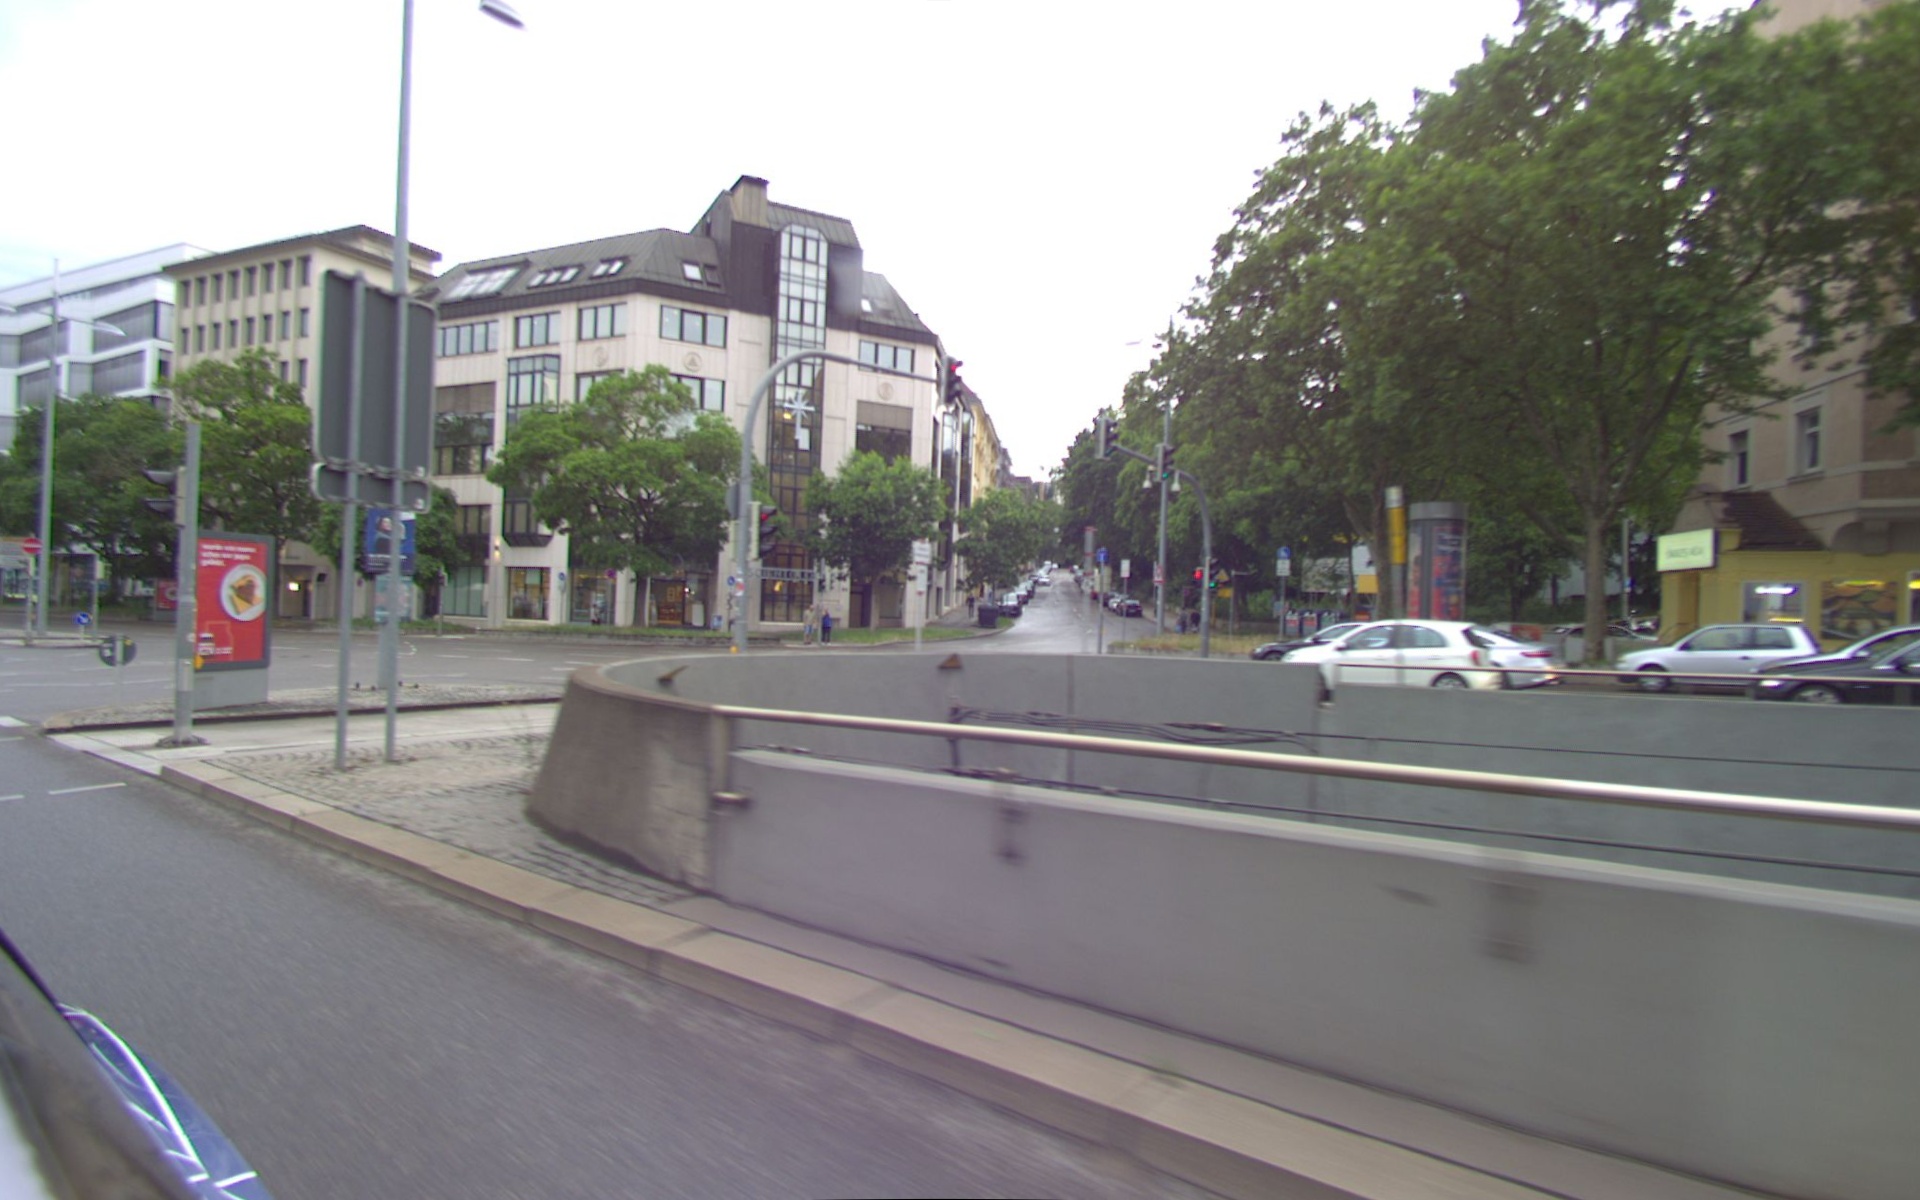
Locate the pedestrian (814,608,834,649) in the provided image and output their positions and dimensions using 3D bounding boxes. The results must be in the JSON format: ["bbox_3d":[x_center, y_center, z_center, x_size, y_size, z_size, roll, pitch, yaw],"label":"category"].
[{"bbox_3d":[-6.115,1.262,45.557,0.582,1.823,0.675,0,0,-44],"label":"pedestrian"}]

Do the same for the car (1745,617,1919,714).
[{"bbox_3d":[15.503,1.048,16.700,3.994,1.522,1.777,0,-1,38],"label":"car"}]

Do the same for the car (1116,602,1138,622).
[{"bbox_3d":[13.106,0.915,79.389,1.592,1.473,3.484,0,0,8],"label":"car"}]

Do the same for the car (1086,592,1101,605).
[{"bbox_3d":[14.677,-0.173,111.510,1.592,1.473,3.484,0,0,8],"label":"car"}]

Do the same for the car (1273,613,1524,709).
[{"bbox_3d":[8.065,1.043,18.762,3.994,1.573,1.777,0,-1,38],"label":"car"}]

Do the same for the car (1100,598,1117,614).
[{"bbox_3d":[14.207,0.569,96.878,1.592,1.473,3.484,0,0,8],"label":"car"}]

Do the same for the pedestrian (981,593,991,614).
[{"bbox_3d":[2.042,0.295,80.349,0.643,1.674,0.647,0,0,13],"label":"pedestrian"}]

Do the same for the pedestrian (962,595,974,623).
[{"bbox_3d":[0.575,0.646,72.392,0.746,2.029,0.746,0,-1,4],"label":"pedestrian"}]

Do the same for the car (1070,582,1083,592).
[{"bbox_3d":[18.113,-2.041,157.540,1.777,1.522,3.995,0,0,4],"label":"car"}]

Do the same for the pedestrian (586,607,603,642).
[{"bbox_3d":[-18.707,1.239,51.813,0.524,1.798,0.598,0,0,32],"label":"pedestrian"}]

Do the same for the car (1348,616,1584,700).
[{"bbox_3d":[10.201,1.102,20.545,3.997,1.522,1.776,0,-1,40],"label":"car"}]

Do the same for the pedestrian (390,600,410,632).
[{"bbox_3d":[-31.816,0.887,57.516,0.614,1.798,0.826,0,0,32],"label":"pedestrian"}]

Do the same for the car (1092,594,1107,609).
[{"bbox_3d":[14.538,0.160,105.600,1.592,1.473,3.484,0,0,8],"label":"car"}]

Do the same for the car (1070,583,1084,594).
[{"bbox_3d":[16.244,-1.566,140.112,1.777,1.522,3.994,0,0,5],"label":"car"}]

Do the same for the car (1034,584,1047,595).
[{"bbox_3d":[11.464,-1.537,145.060,1.777,1.522,3.995,0,0,4],"label":"car"}]

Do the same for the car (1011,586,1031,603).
[{"bbox_3d":[5.614,-0.504,92.382,1.777,1.522,3.995,0,0,4],"label":"car"}]

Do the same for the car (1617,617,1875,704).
[{"bbox_3d":[15.620,1.132,20.338,3.936,1.522,1.777,0,0,38],"label":"car"}]

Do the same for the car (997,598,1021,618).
[{"bbox_3d":[3.723,0.624,76.420,1.592,1.473,3.484,0,0,8],"label":"car"}]

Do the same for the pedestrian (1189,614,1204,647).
[{"bbox_3d":[13.311,1.726,56.982,0.623,1.823,0.675,0,0,-8],"label":"pedestrian"}]

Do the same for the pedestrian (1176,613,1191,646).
[{"bbox_3d":[12.585,1.649,56.934,0.623,1.823,0.675,0,0,-8],"label":"pedestrian"}]

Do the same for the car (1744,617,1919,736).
[{"bbox_3d":[13.750,1.029,13.775,4.828,1.569,1.777,0,-1,38],"label":"car"}]

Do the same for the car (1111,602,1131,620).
[{"bbox_3d":[13.528,0.909,85.315,1.592,1.473,3.484,0,0,8],"label":"car"}]

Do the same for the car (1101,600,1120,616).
[{"bbox_3d":[13.773,0.739,92.725,1.592,1.473,3.484,0,0,8],"label":"car"}]

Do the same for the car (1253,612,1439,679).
[{"bbox_3d":[9.505,1.085,25.041,3.994,1.522,1.777,0,-2,38],"label":"car"}]

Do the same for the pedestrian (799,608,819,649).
[{"bbox_3d":[-6.737,1.267,45.203,0.582,1.823,0.675,0,0,-44],"label":"pedestrian"}]

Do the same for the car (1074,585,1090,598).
[{"bbox_3d":[14.675,-1.032,121.754,1.779,1.522,3.989,0,0,9],"label":"car"}]

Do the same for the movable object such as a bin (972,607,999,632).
[{"bbox_3d":[1.605,1.220,63.292,1.332,1.519,1.073,0,-1,-22],"label":"movable object such as a bin"}]

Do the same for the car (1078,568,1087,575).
[{"bbox_3d":[25.530,-5.950,211.216,1.777,1.522,3.995,0,0,4],"label":"car"}]

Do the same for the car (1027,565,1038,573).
[{"bbox_3d":[15.219,-6.566,211.951,1.781,1.522,3.986,0,0,11],"label":"car"}]
